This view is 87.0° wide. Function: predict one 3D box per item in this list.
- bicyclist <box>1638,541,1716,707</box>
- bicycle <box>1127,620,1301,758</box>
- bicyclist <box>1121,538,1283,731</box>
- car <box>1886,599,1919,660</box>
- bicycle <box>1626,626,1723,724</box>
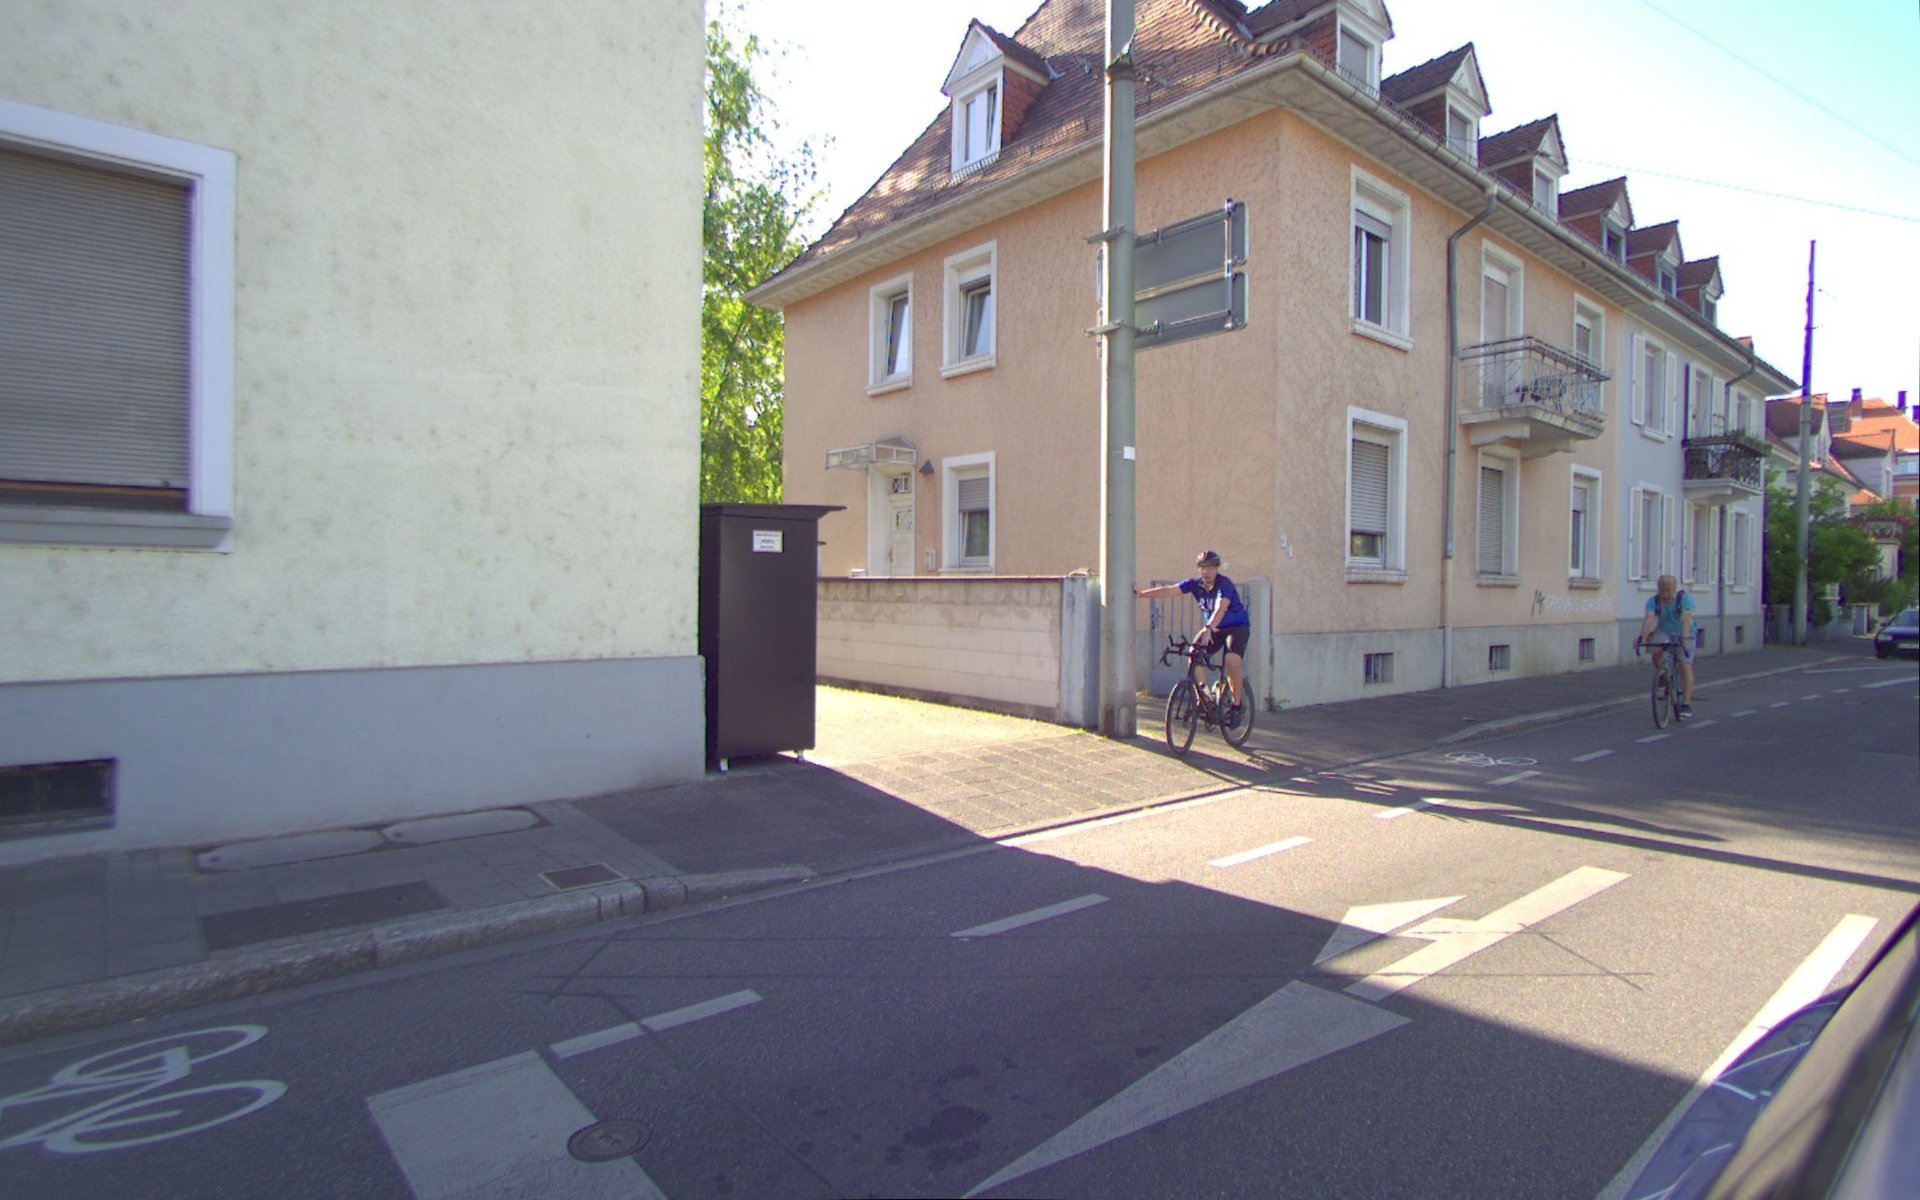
[{"bbox_3d":[8.831,0.303,12.450,0.928,1.959,0.519,4,-2,-40],"label":"bicyclist"},{"bbox_3d":[2.375,0.772,9.358,1.744,1.081,0.592,0,5,-41],"label":"bicycle"},{"bbox_3d":[2.260,0.285,9.513,0.870,1.627,1.052,1,5,-41],"label":"bicyclist"},{"bbox_3d":[26.685,0.753,27.369,3.742,1.601,1.696,0,-1,-36],"label":"car"},{"bbox_3d":[8.797,0.905,12.430,1.763,1.105,0.519,3,-1,-40],"label":"bicycle"}]
